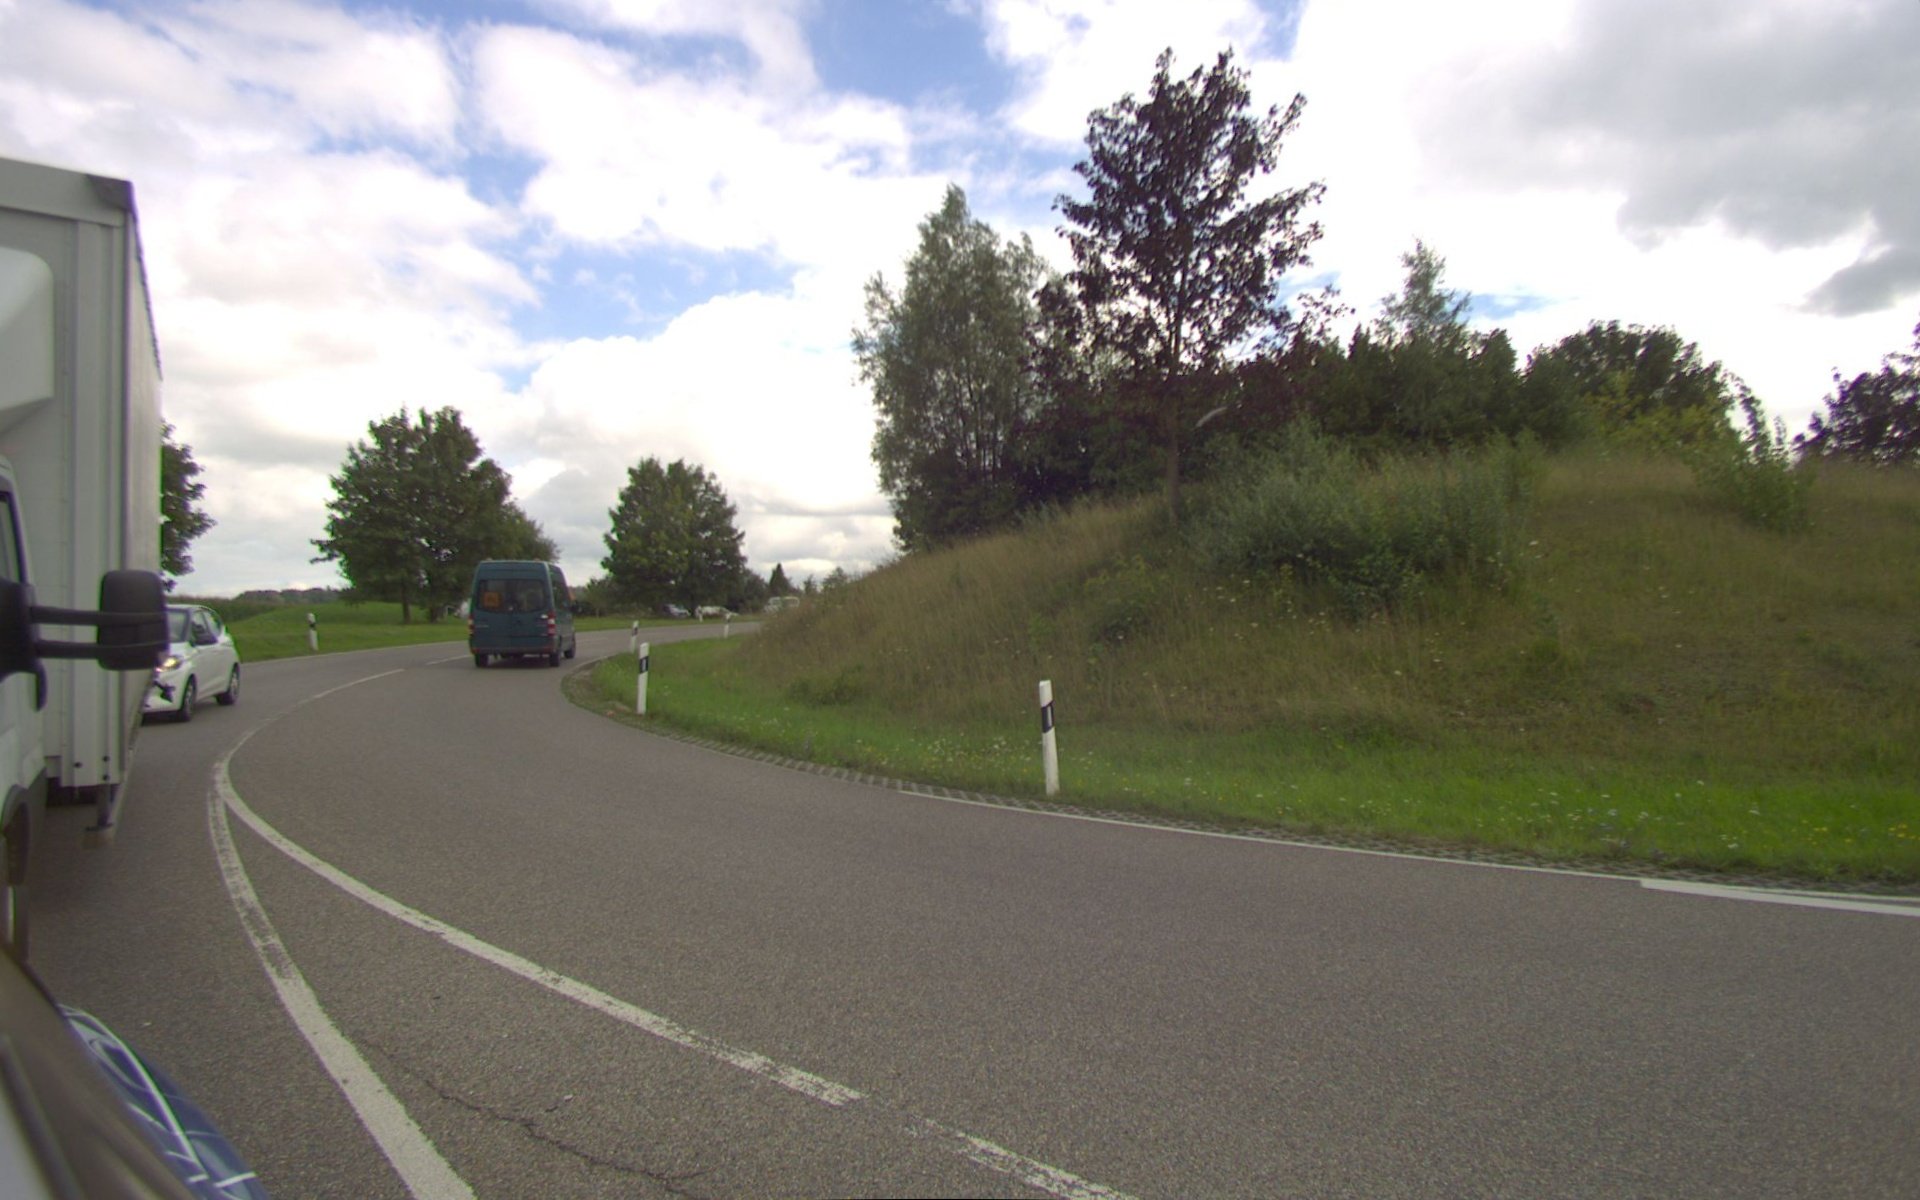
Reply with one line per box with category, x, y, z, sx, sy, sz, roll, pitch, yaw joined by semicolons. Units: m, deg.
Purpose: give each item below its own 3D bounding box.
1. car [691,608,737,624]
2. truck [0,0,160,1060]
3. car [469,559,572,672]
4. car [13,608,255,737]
car;-25.650;1.670;105.372;4.328;1.597;2.007;-1;-1;-23
truck;-6.317;-0.496;5.682;2.793;3.792;8.817;1;-2;-38
car;-11.313;0.422;26.366;1.966;2.650;5.138;1;-1;-19
car;-11.216;0.898;14.063;1.721;1.477;4.013;-1;-1;-26
